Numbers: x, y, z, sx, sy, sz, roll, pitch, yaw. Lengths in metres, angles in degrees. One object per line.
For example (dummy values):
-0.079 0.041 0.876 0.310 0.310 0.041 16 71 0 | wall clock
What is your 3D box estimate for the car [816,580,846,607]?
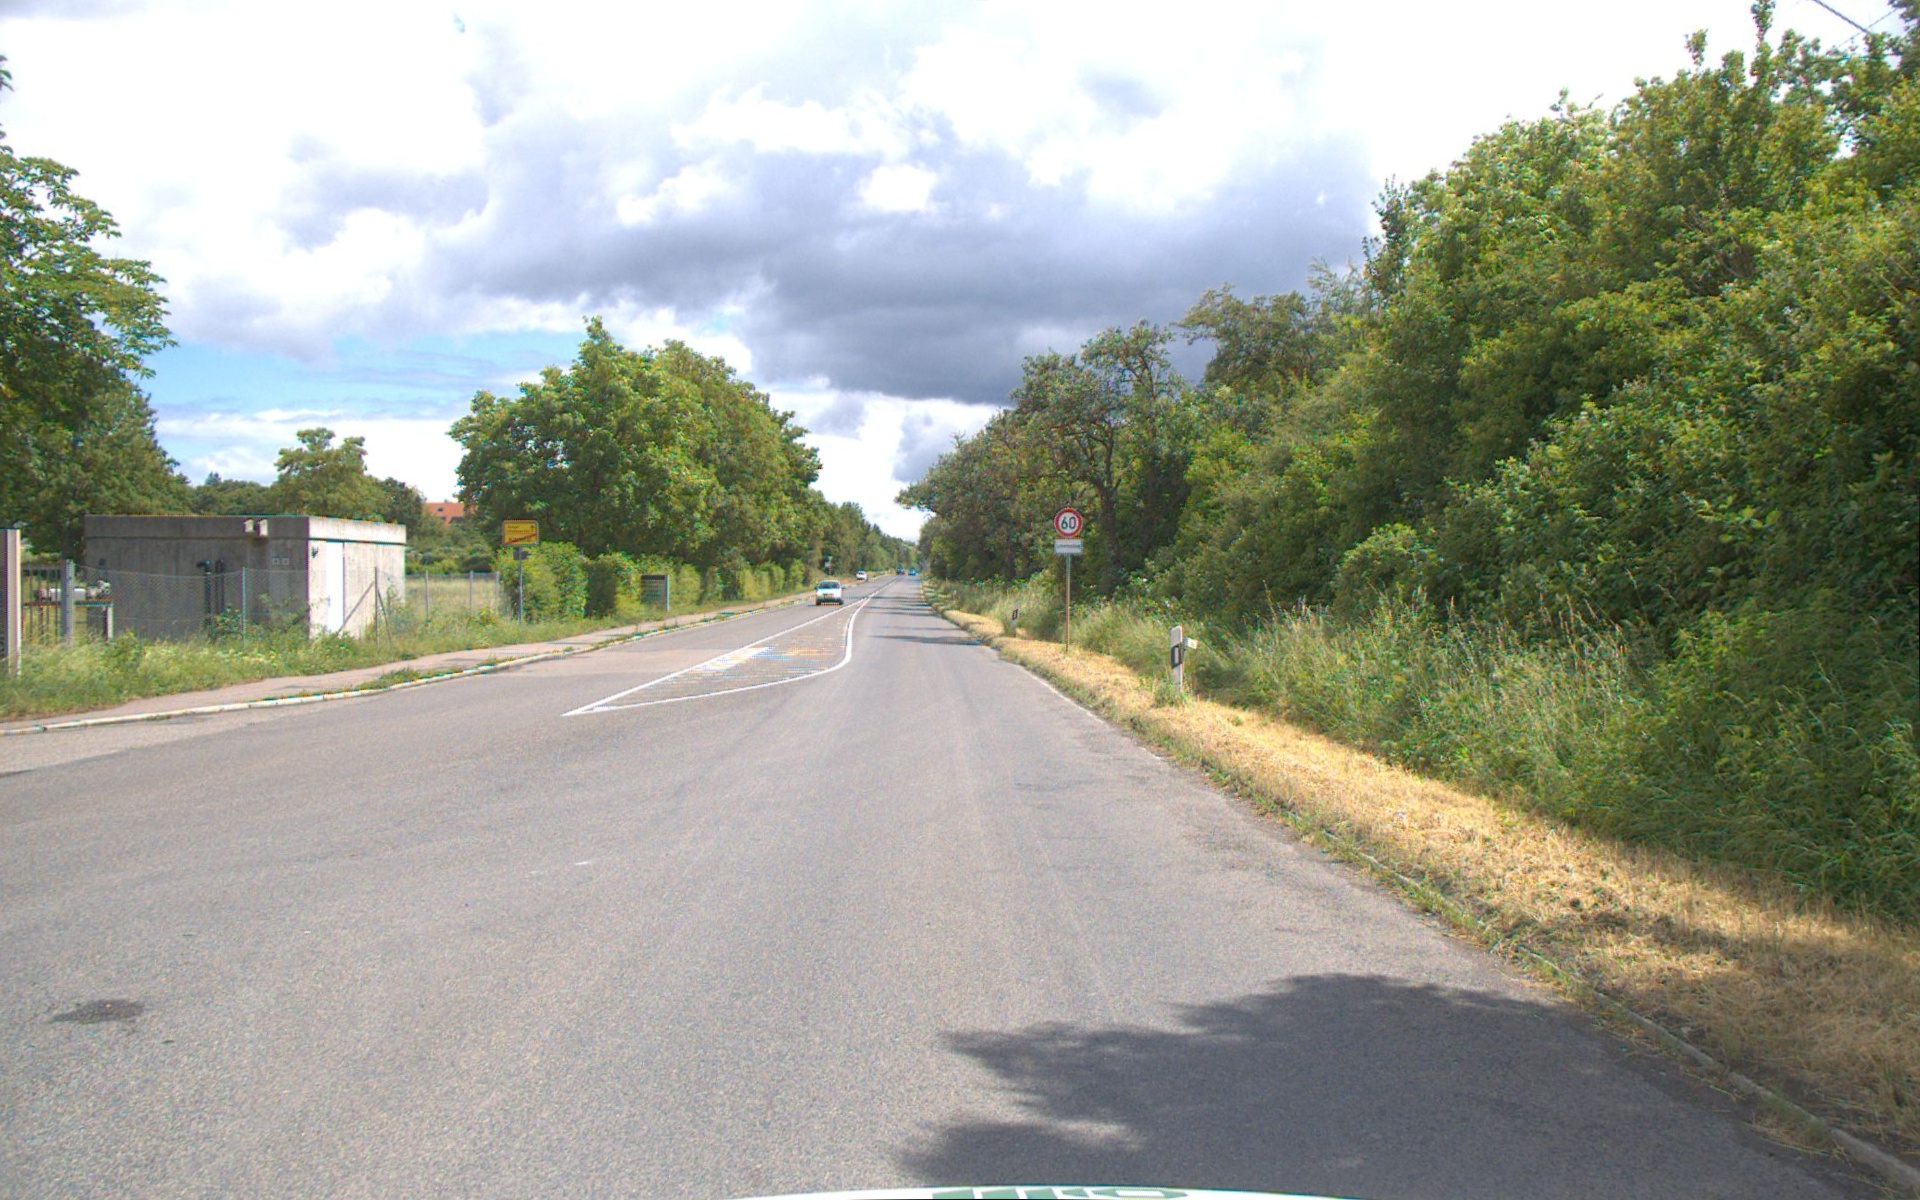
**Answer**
-7.588 -0.398 97.381 1.627 1.457 3.691 -1 1 -2 | car
